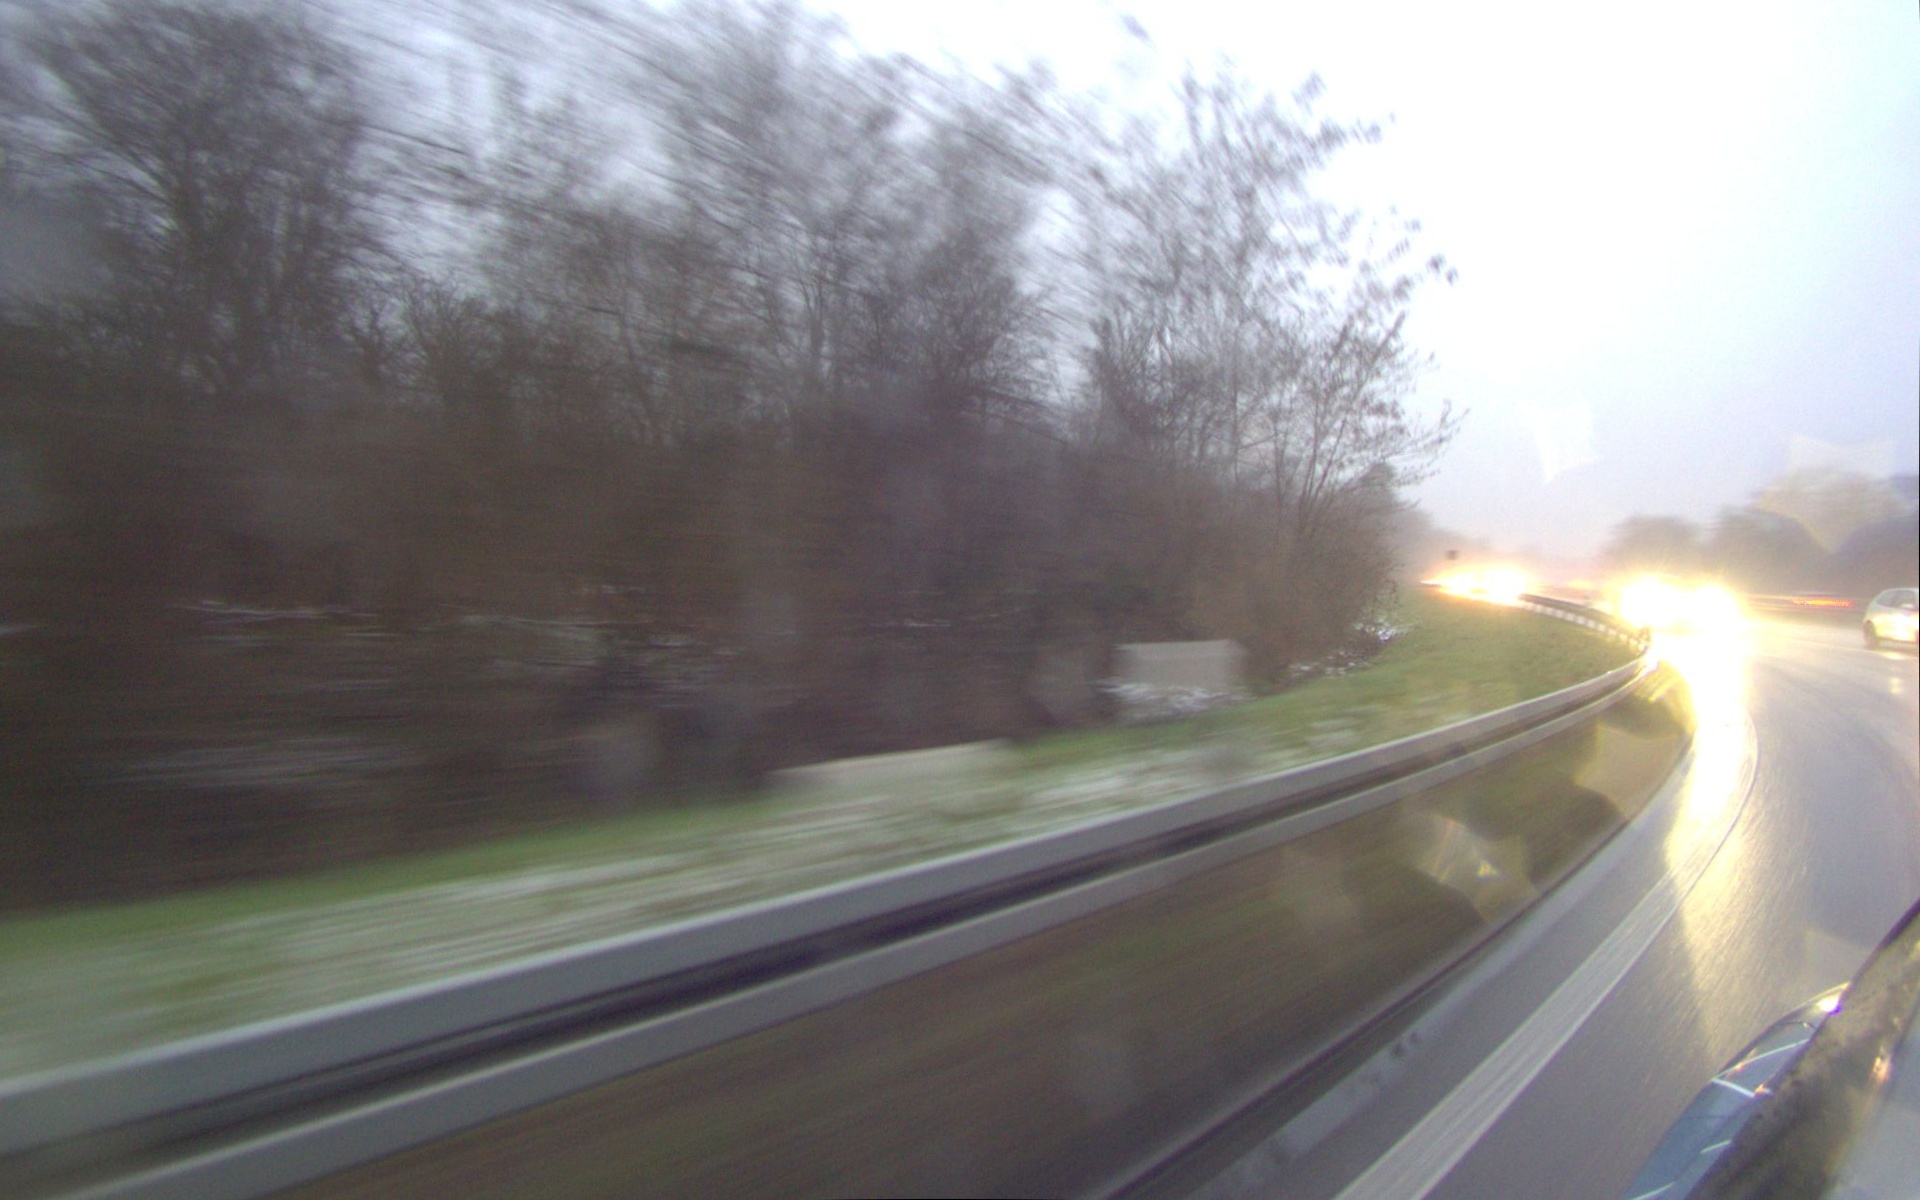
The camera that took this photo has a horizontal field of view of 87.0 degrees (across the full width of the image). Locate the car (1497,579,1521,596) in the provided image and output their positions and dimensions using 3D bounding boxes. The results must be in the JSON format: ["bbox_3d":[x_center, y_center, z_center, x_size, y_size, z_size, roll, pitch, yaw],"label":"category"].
[{"bbox_3d":[56.794,-1.300,104.794,1.672,1.672,3.972,1,1,21],"label":"car"}]

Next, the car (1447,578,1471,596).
[{"bbox_3d":[51.846,-1.367,105.255,1.799,1.772,3.972,1,1,21],"label":"car"}]

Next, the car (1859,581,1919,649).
[{"bbox_3d":[22.468,0.356,22.942,1.634,1.530,3.853,2,2,18],"label":"car"}]

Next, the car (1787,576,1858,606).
[{"bbox_3d":[48.120,-0.539,56.568,1.741,1.589,4.641,1,2,24],"label":"car"}]

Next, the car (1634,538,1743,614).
[{"bbox_3d":[21.876,-0.738,30.559,1.982,2.038,3.925,4,3,28],"label":"car"}]

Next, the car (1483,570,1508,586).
[{"bbox_3d":[42.253,-1.764,79.858,1.467,1.220,3.323,2,2,23],"label":"car"}]
